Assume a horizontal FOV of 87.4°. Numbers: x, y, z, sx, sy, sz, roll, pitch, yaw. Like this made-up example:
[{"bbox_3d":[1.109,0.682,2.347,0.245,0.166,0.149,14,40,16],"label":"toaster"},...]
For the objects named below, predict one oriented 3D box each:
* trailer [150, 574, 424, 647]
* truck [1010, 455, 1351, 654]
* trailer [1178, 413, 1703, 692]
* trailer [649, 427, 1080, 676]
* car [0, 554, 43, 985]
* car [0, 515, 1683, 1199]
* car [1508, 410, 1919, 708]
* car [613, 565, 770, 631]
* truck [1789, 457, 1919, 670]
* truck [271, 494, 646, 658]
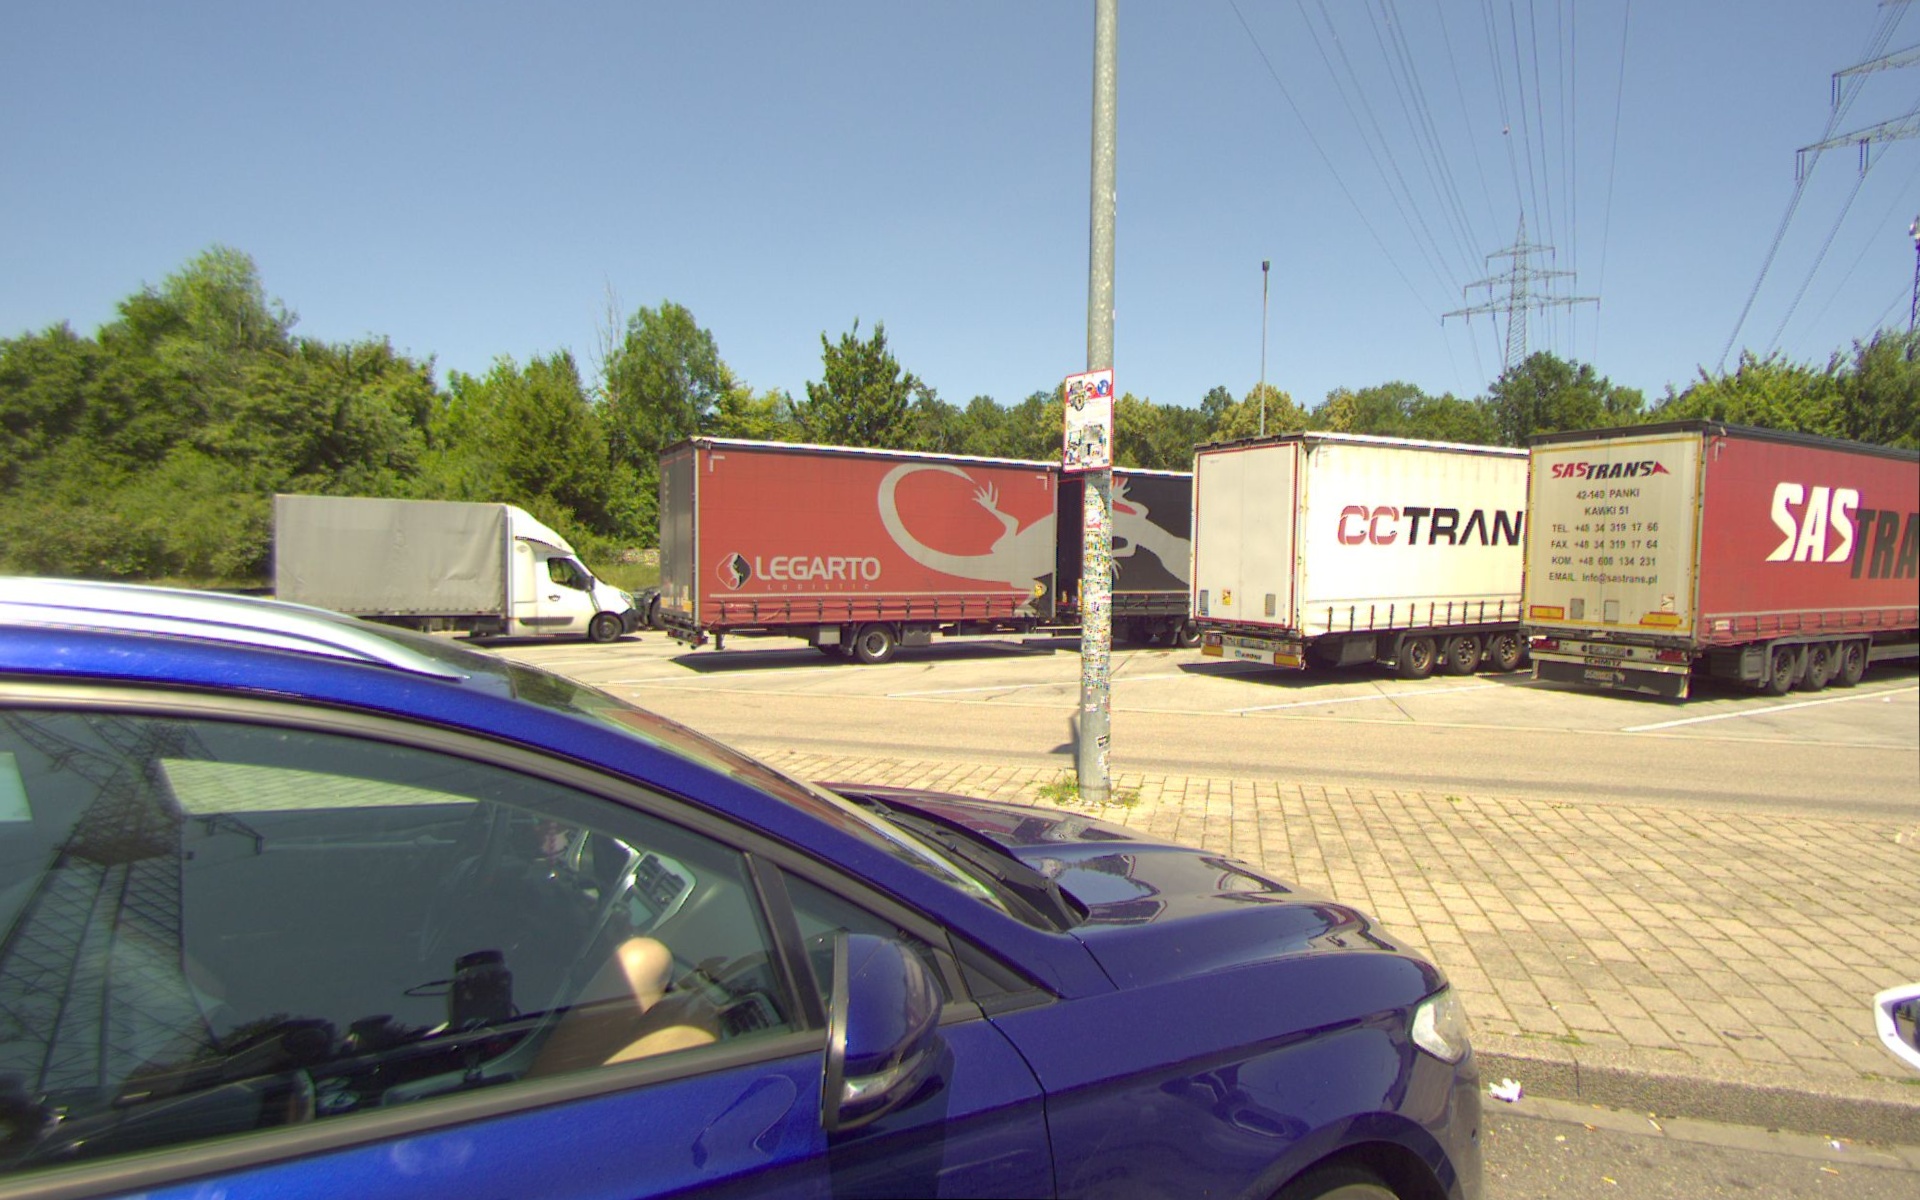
[{"bbox_3d":[-15.950,0.239,24.177,5.332,1.617,1.585,0,0,-30],"label":"trailer"},{"bbox_3d":[5.602,-1.081,24.825,8.683,4.248,2.800,-1,2,-30],"label":"truck"},{"bbox_3d":[10.111,-0.884,20.064,12.786,4.325,2.800,-1,2,-31],"label":"trailer"},{"bbox_3d":[-1.744,-0.931,20.501,8.389,4.248,2.800,-1,2,-30],"label":"trailer"},{"bbox_3d":[-4.612,0.557,2.113,3.700,1.432,1.595,0,0,-32],"label":"car"},{"bbox_3d":[-0.986,0.671,1.462,4.380,1.464,1.771,0,0,-32],"label":"car"},{"bbox_3d":[15.216,-0.695,18.451,12.777,4.169,2.683,-1,3,-30],"label":"car"},{"bbox_3d":[-7.605,-0.050,28.513,3.953,1.773,1.902,0,0,-30],"label":"car"},{"bbox_3d":[21.142,-0.776,21.862,6.163,4.169,2.683,-1,3,-30],"label":"truck"},{"bbox_3d":[-11.115,-0.588,22.871,7.219,3.277,2.308,-2,3,-29],"label":"truck"}]
